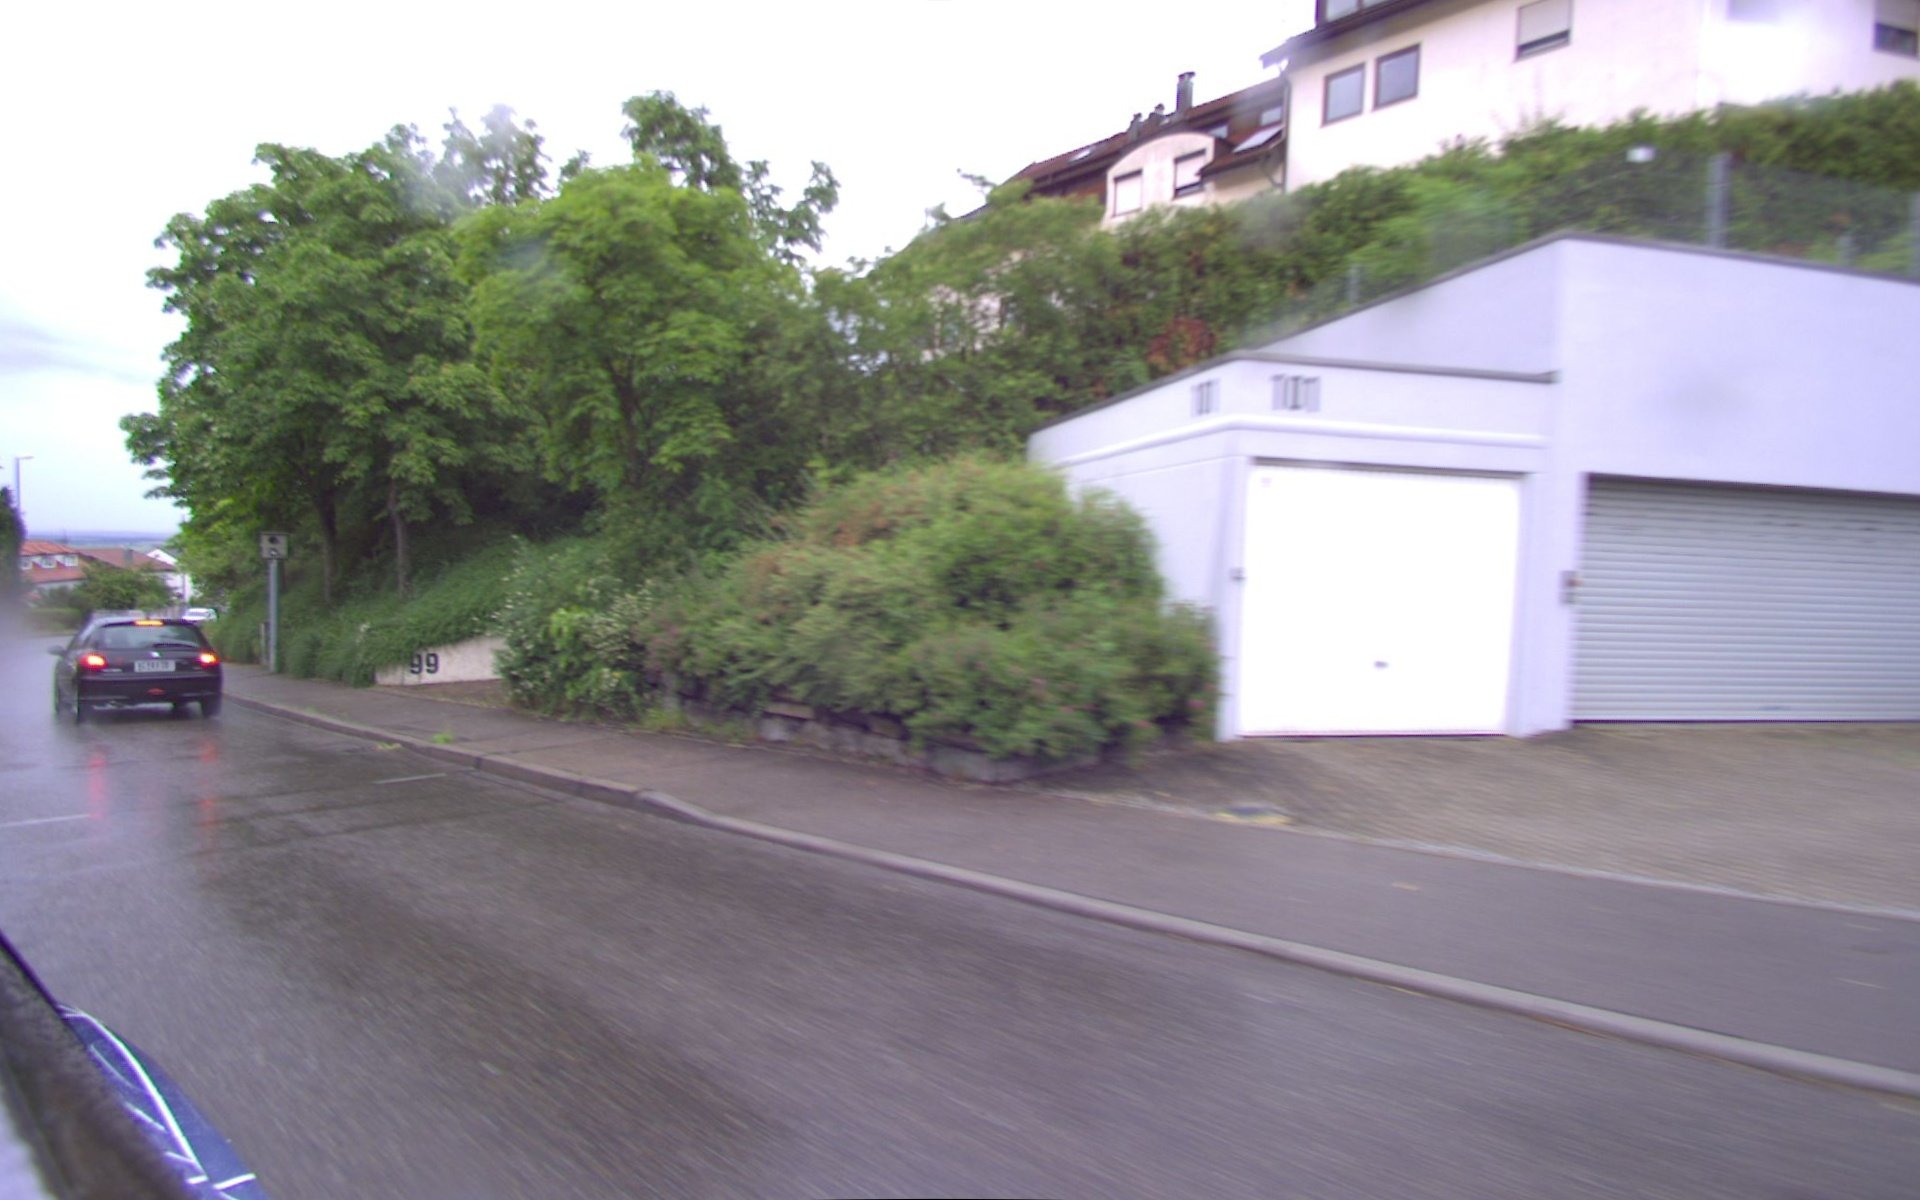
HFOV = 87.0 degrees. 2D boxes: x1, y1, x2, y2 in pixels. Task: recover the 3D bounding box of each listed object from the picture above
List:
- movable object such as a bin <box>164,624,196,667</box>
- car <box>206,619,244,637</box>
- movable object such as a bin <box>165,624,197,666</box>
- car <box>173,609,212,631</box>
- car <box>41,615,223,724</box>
[{"bbox_3d":[-21.009,1.221,27.273,0.640,1.124,0.506,2,-2,-41],"label":"movable object such as a bin"},{"bbox_3d":[-74.425,2.841,102.549,1.779,1.639,4.301,4,-3,-19],"label":"car"},{"bbox_3d":[-21.358,1.228,27.762,0.640,1.112,0.674,2,-2,-41],"label":"movable object such as a bin"},{"bbox_3d":[-68.550,1.789,90.504,1.753,1.817,4.723,3,-2,-25],"label":"car"},{"bbox_3d":[-12.121,0.915,14.750,3.530,1.395,1.632,-1,-1,44],"label":"car"}]
